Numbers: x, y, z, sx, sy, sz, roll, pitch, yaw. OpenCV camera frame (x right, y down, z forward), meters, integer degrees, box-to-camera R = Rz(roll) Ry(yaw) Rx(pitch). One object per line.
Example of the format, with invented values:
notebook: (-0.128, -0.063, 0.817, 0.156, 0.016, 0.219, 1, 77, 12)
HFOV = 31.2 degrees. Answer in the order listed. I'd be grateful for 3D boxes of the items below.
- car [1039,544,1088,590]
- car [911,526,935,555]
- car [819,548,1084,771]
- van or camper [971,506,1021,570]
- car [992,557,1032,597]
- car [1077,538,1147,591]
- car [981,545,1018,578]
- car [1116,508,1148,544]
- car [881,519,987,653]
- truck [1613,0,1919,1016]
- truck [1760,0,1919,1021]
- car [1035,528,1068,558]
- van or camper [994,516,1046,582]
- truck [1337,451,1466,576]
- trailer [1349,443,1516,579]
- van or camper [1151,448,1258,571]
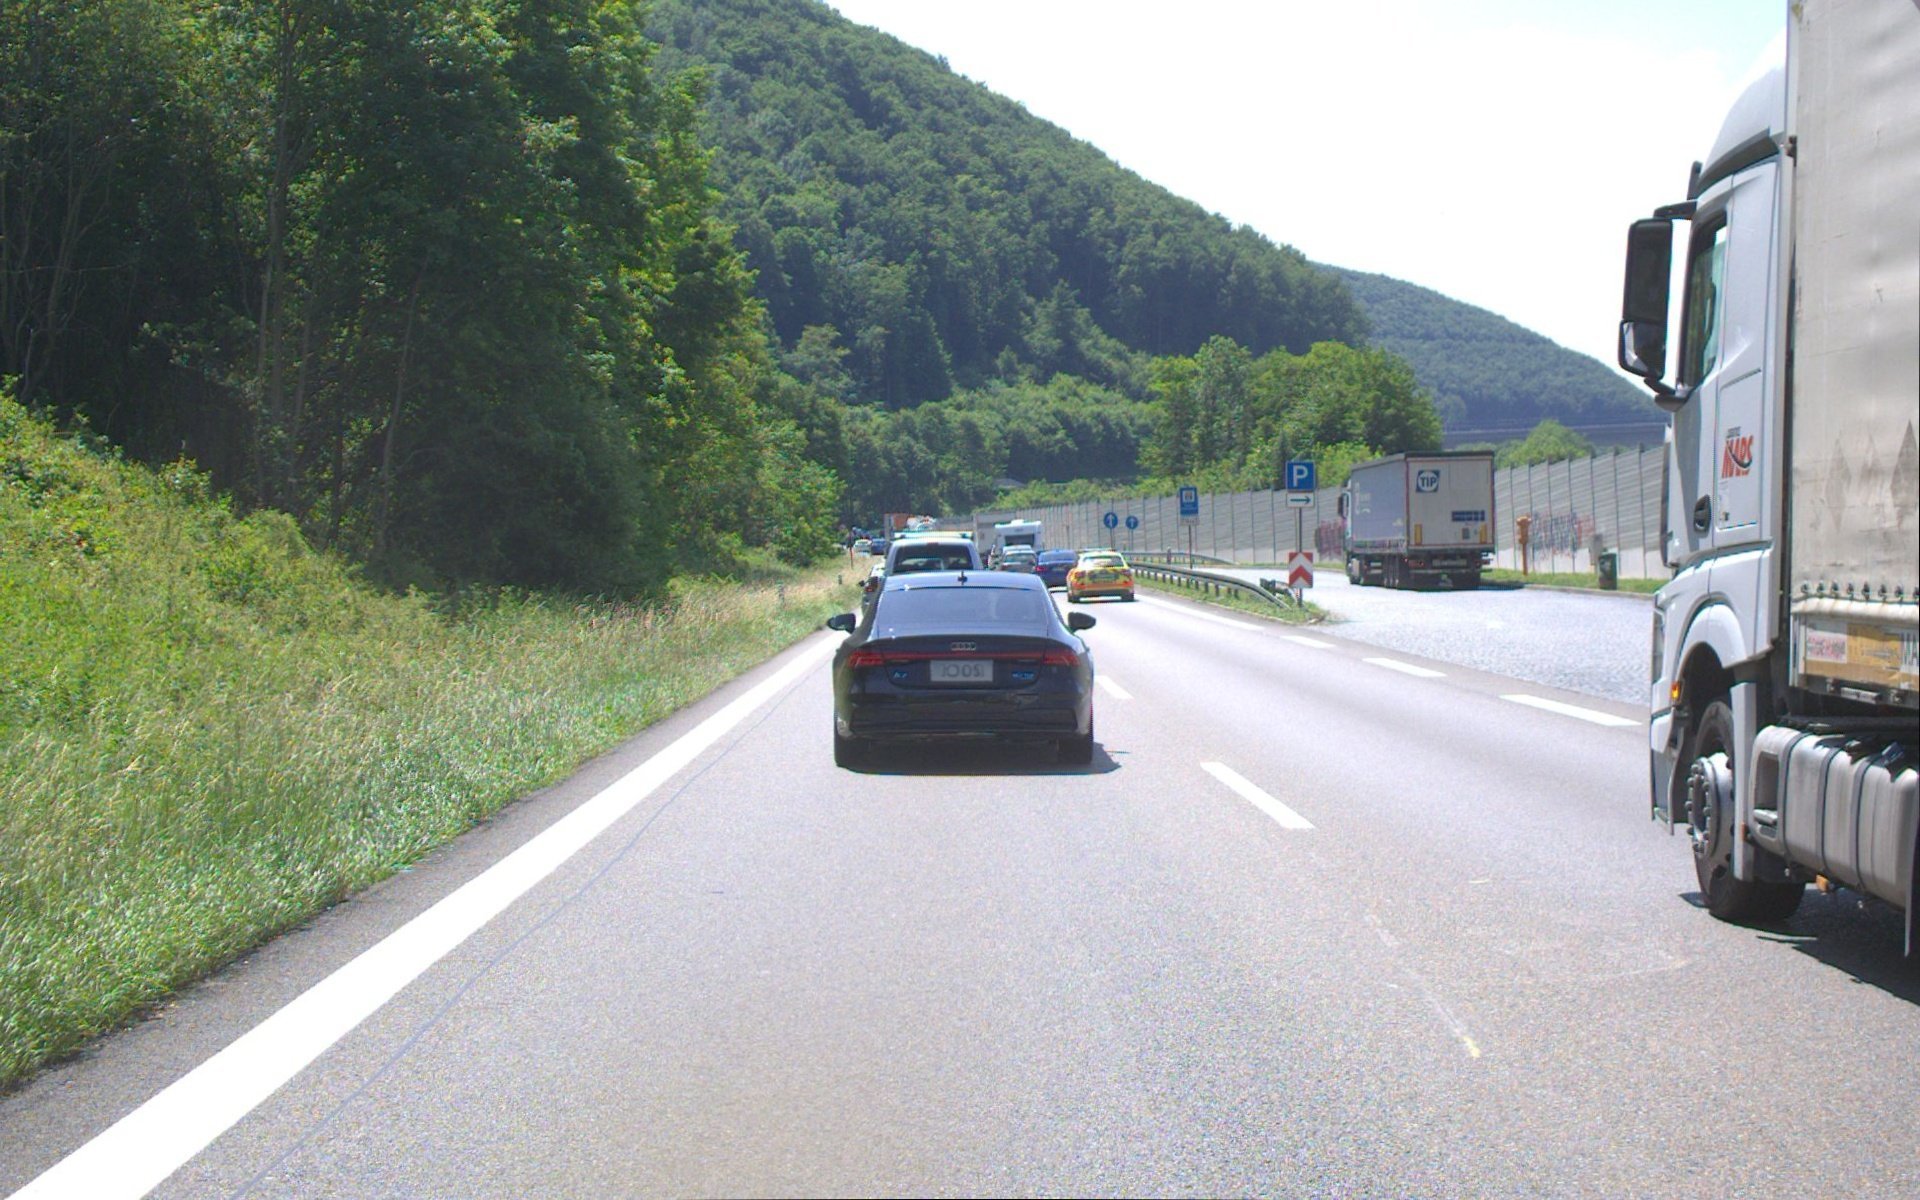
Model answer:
car: (3.535, -1.125, 117.840, 1.530, 1.520, 3.597, 1, 0, 0)
car: (-2.624, -4.221, 243.890, 1.687, 2.007, 4.000, 0, 1, -1)
car: (-0.045, 0.384, 25.519, 1.812, 1.509, 3.514, -1, 1, 1)
van or camper: (2.258, -3.938, 219.019, 2.794, 3.894, 6.167, 1, 0, -2)
car: (2.085, -0.922, 138.070, 1.530, 1.520, 3.597, 1, 0, 0)
car: (4.423, -1.039, 100.511, 1.879, 1.493, 4.000, 0, 1, 0)
car: (2.271, -2.216, 199.398, 1.993, 1.788, 4.000, 1, 0, -1)
car: (9.639, -4.140, 192.872, 1.576, 2.007, 3.428, -1, 1, 0)
car: (-0.408, -0.227, 53.466, 1.521, 1.961, 3.514, 2, 0, -1)
truck: (4.380, -0.710, 12.822, 2.719, 4.054, 5.754, 1, 0, 0)
truck: (4.415, -0.691, 5.959, 2.726, 4.054, 13.741, 1, 0, 0)
car: (6.151, -3.801, 231.264, 1.993, 2.007, 4.000, 0, 1, -2)
van or camper: (2.972, -2.496, 170.829, 2.429, 3.144, 5.203, 1, 0, 0)
truck: (14.120, -2.752, 110.355, 3.411, 3.887, 5.388, 0, 1, -1)
trailer: (14.154, -2.639, 103.977, 3.411, 3.887, 11.152, 0, 1, -1)
van or camper: (8.036, -2.927, 113.489, 2.794, 3.828, 6.167, 1, 0, -2)
